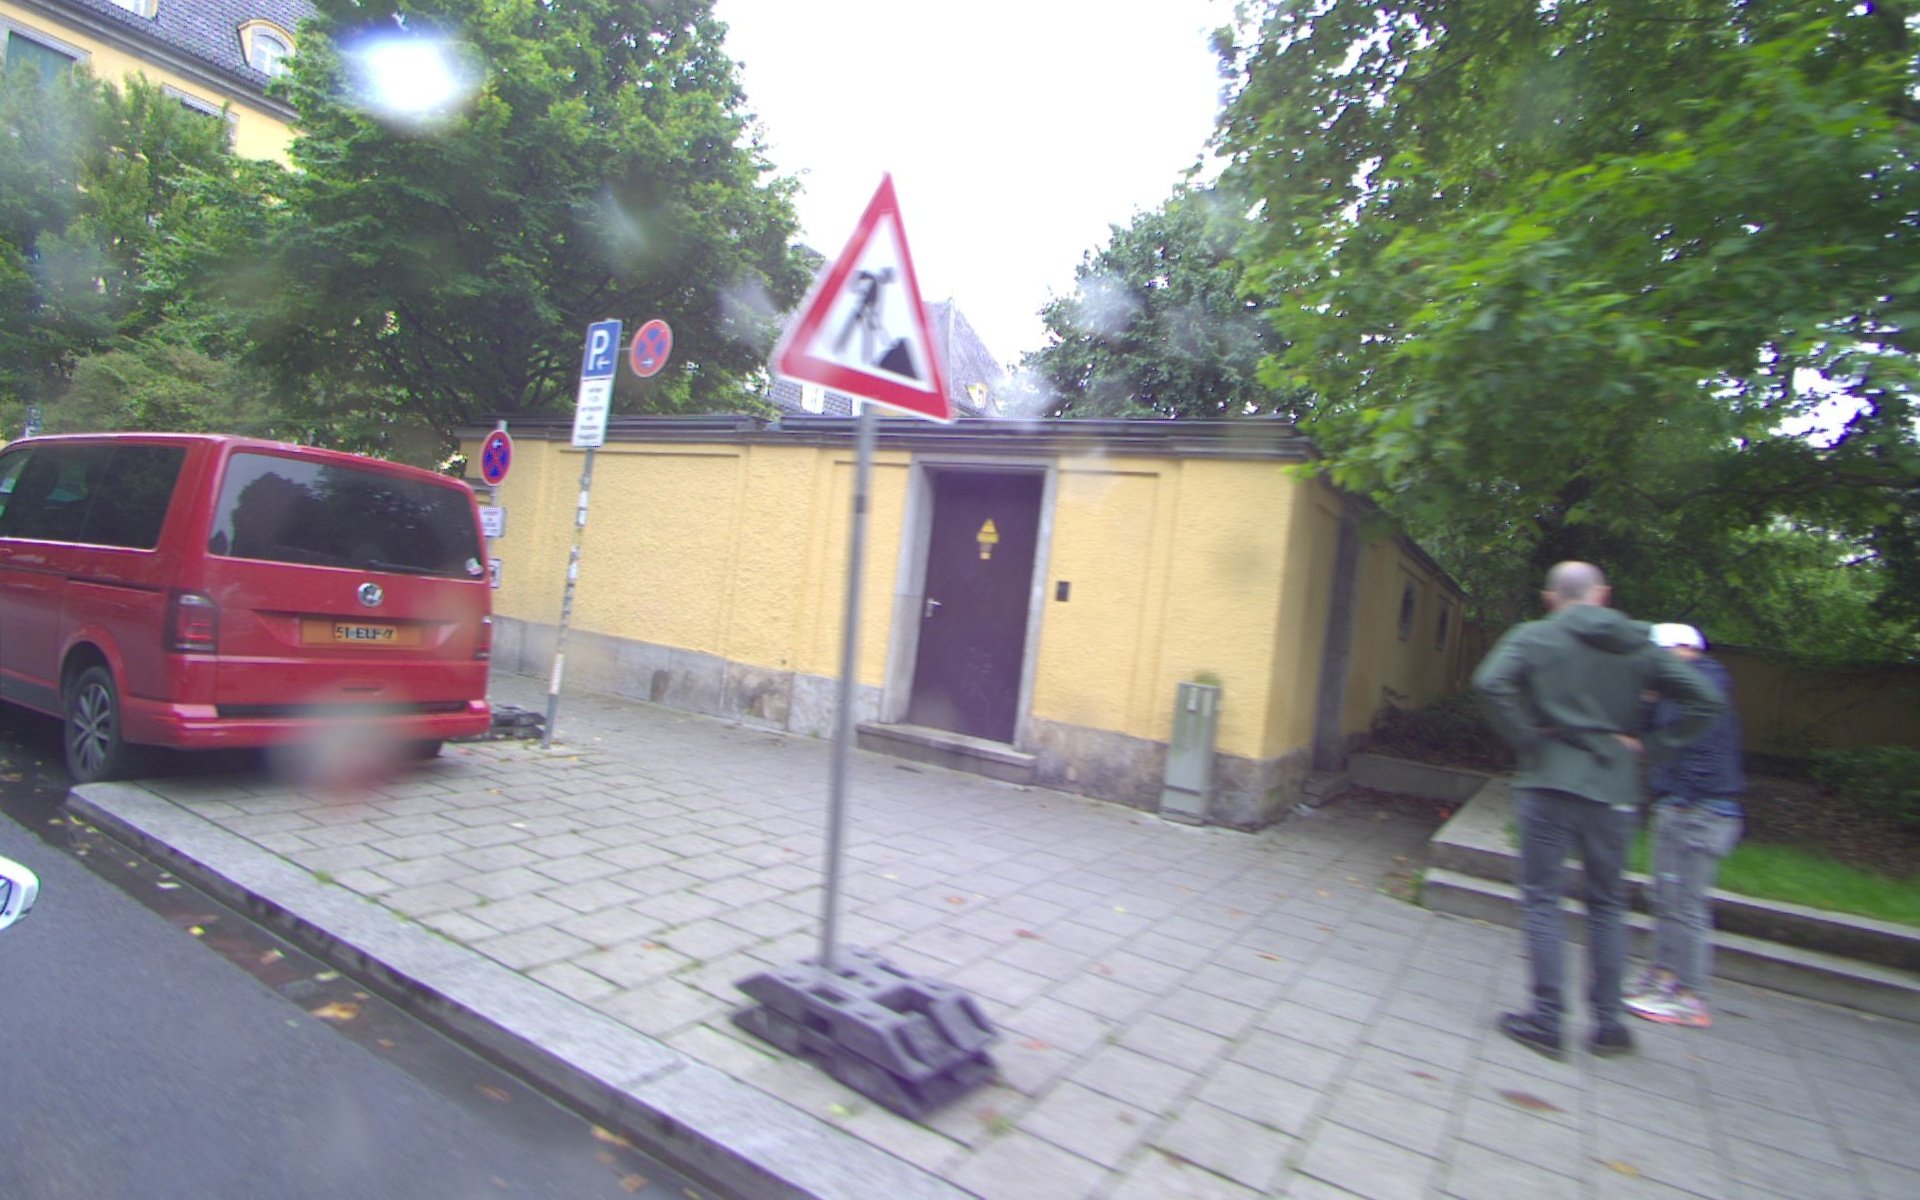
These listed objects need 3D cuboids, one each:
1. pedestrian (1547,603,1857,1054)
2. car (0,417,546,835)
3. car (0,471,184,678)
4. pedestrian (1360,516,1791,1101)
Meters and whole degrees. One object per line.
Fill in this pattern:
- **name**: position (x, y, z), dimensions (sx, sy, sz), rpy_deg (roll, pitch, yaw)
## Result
- **pedestrian**: position (3.092, 0.898, 4.273), dimensions (0.684, 1.688, 0.635), rpy_deg (7, 1, 10)
- **car**: position (-5.296, -0.040, 6.788), dimensions (4.885, 1.961, 1.914), rpy_deg (7, 0, 30)
- **car**: position (-9.481, -0.402, 9.404), dimensions (4.489, 1.654, 1.996), rpy_deg (7, 0, 32)
- **pedestrian**: position (2.223, 0.703, 3.796), dimensions (0.934, 1.859, 0.822), rpy_deg (7, 1, 5)
